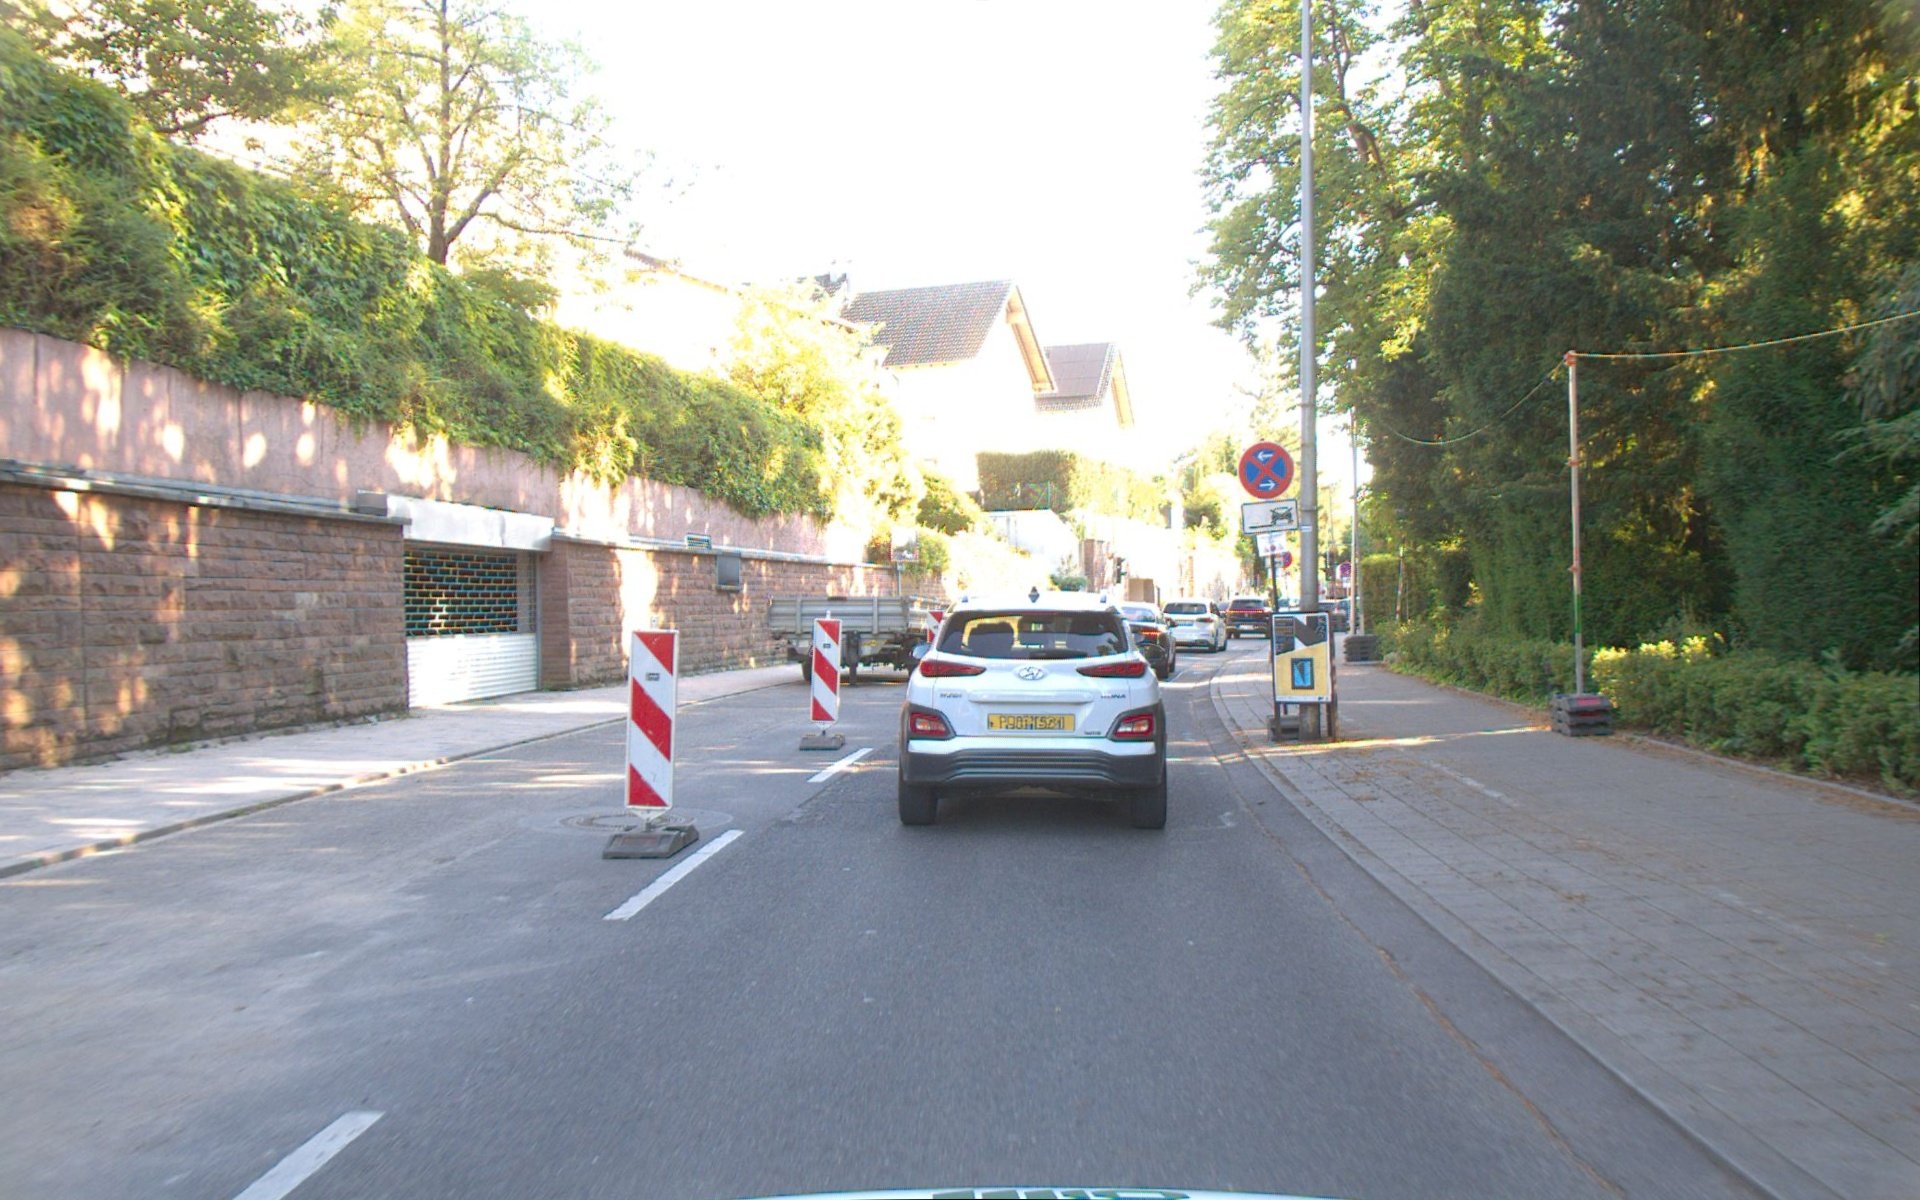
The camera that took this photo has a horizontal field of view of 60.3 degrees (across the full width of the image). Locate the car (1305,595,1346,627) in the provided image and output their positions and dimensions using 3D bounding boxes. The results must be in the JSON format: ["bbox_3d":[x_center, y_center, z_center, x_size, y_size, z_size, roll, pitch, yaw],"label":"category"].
[{"bbox_3d":[20.081,0.601,90.742,1.659,1.530,3.632,-4,0,20],"label":"car"}]

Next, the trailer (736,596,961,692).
[{"bbox_3d":[-1.779,0.697,29.764,2.583,1.515,7.124,0,0,8],"label":"trailer"}]

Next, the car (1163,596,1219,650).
[{"bbox_3d":[6.749,0.629,48.092,1.537,1.503,3.551,0,0,9],"label":"car"}]

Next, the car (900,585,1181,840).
[{"bbox_3d":[0.617,0.689,12.277,1.735,1.569,4.002,0,0,3],"label":"car"}]

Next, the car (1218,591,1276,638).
[{"bbox_3d":[11.006,0.543,63.215,1.658,1.559,3.884,-5,0,17],"label":"car"}]

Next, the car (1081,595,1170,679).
[{"bbox_3d":[3.369,0.703,33.288,1.479,1.560,3.551,-1,0,10],"label":"car"}]

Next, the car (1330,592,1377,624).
[{"bbox_3d":[18.922,0.362,79.503,1.757,1.466,4.001,-2,0,19],"label":"car"}]

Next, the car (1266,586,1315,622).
[{"bbox_3d":[15.656,0.177,78.303,1.658,1.472,3.883,-4,0,19],"label":"car"}]
